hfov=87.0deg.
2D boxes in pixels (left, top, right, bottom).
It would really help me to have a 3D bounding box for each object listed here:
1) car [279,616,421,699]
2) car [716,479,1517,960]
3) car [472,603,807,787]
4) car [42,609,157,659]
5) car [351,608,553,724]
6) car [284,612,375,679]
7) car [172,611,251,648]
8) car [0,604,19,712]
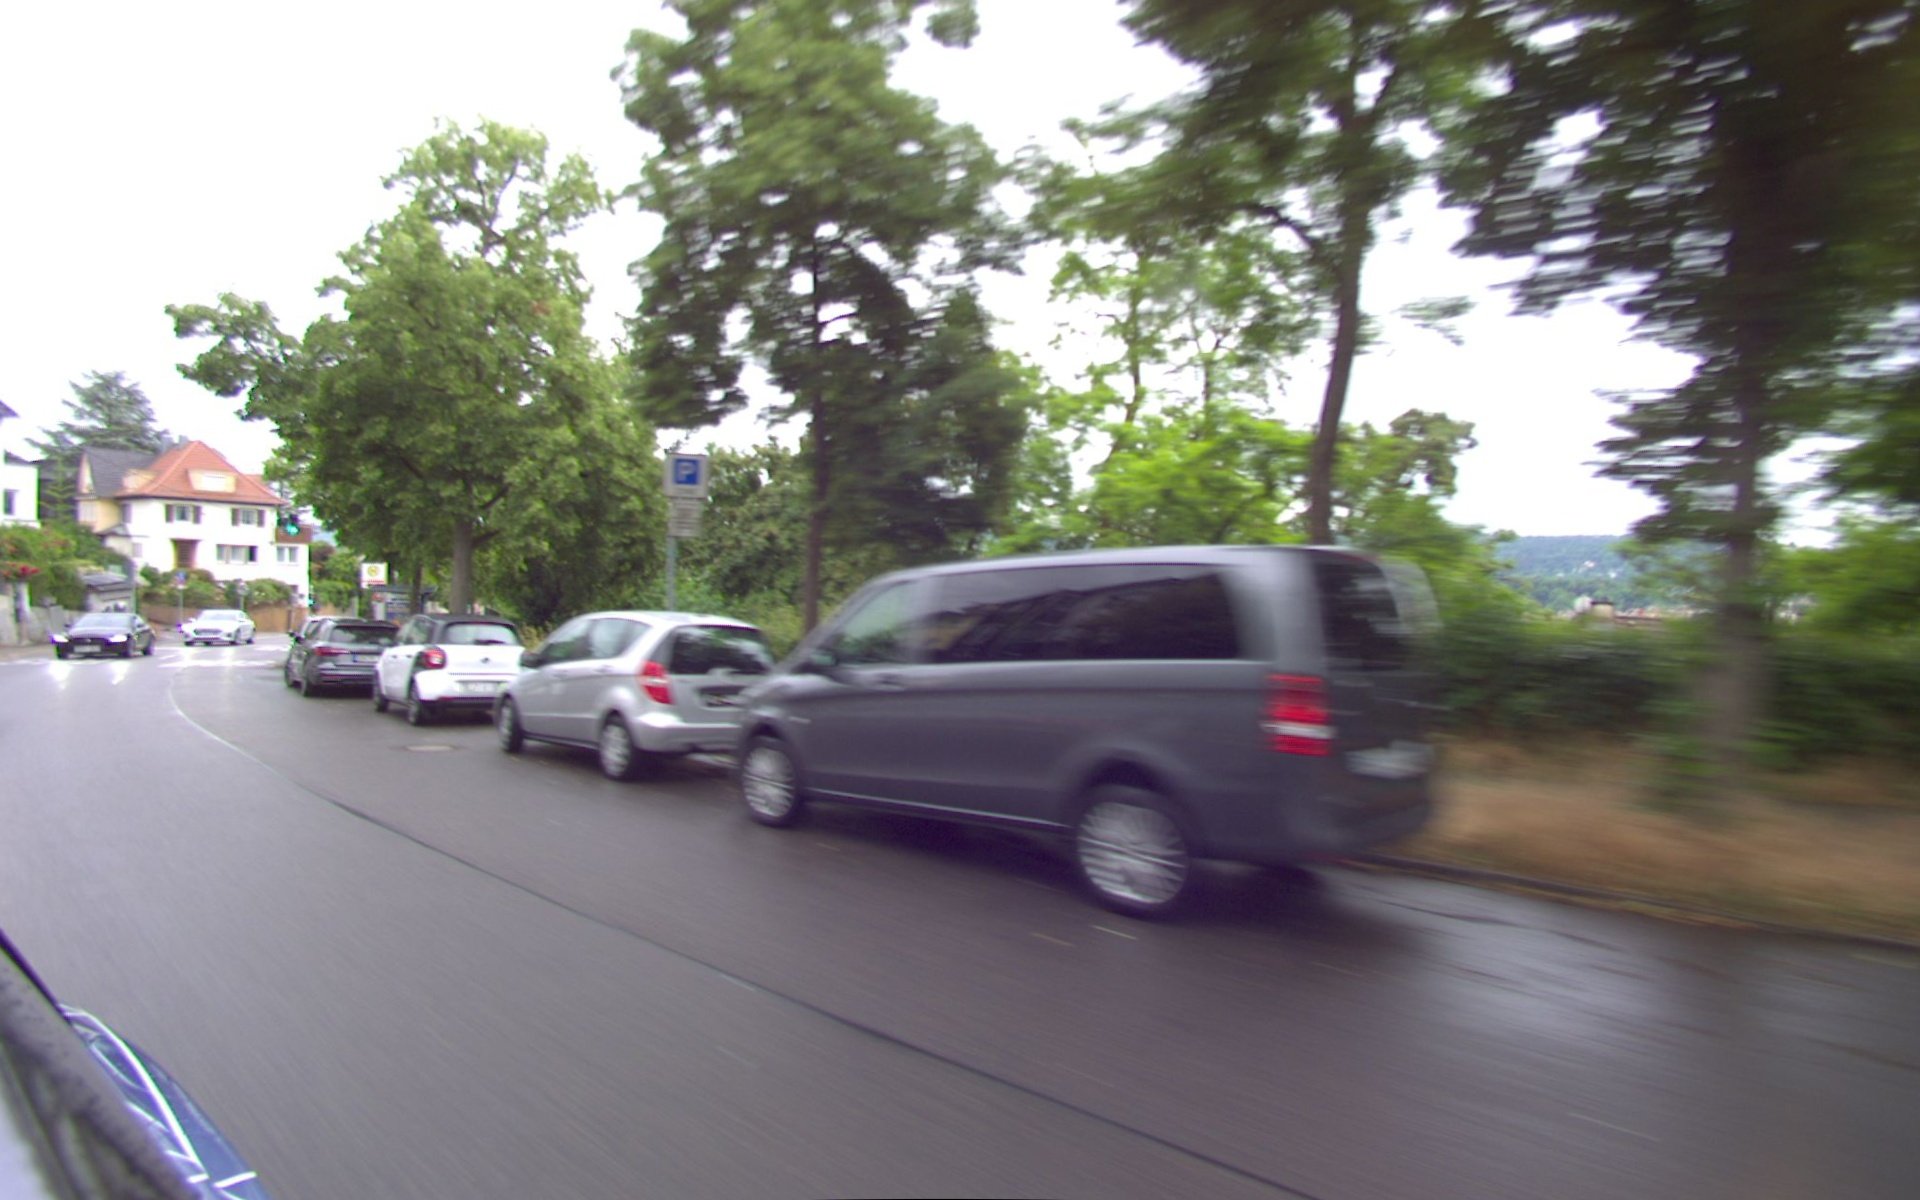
[{"bbox_3d":[-11.812,1.058,19.456,1.662,1.391,4.509,5,-3,-39],"label":"car"},{"bbox_3d":[0.612,0.615,6.656,1.932,1.983,5.004,5,-5,-45],"label":"car"},{"bbox_3d":[-3.472,0.872,10.620,3.767,1.564,1.665,0,-4,43],"label":"car"},{"bbox_3d":[-27.349,1.039,32.316,1.997,1.474,4.013,0,-1,-28],"label":"car"},{"bbox_3d":[-7.814,0.948,15.370,1.663,1.521,4.212,5,-4,-41],"label":"car"},{"bbox_3d":[-14.930,1.092,23.898,1.633,1.441,4.386,3,-4,-33],"label":"car"},{"bbox_3d":[-34.353,1.342,46.576,1.997,1.641,4.242,1,-1,-23],"label":"car"},{"bbox_3d":[-12.848,0.760,12.032,1.775,1.437,4.394,1,-1,-34],"label":"car"}]
